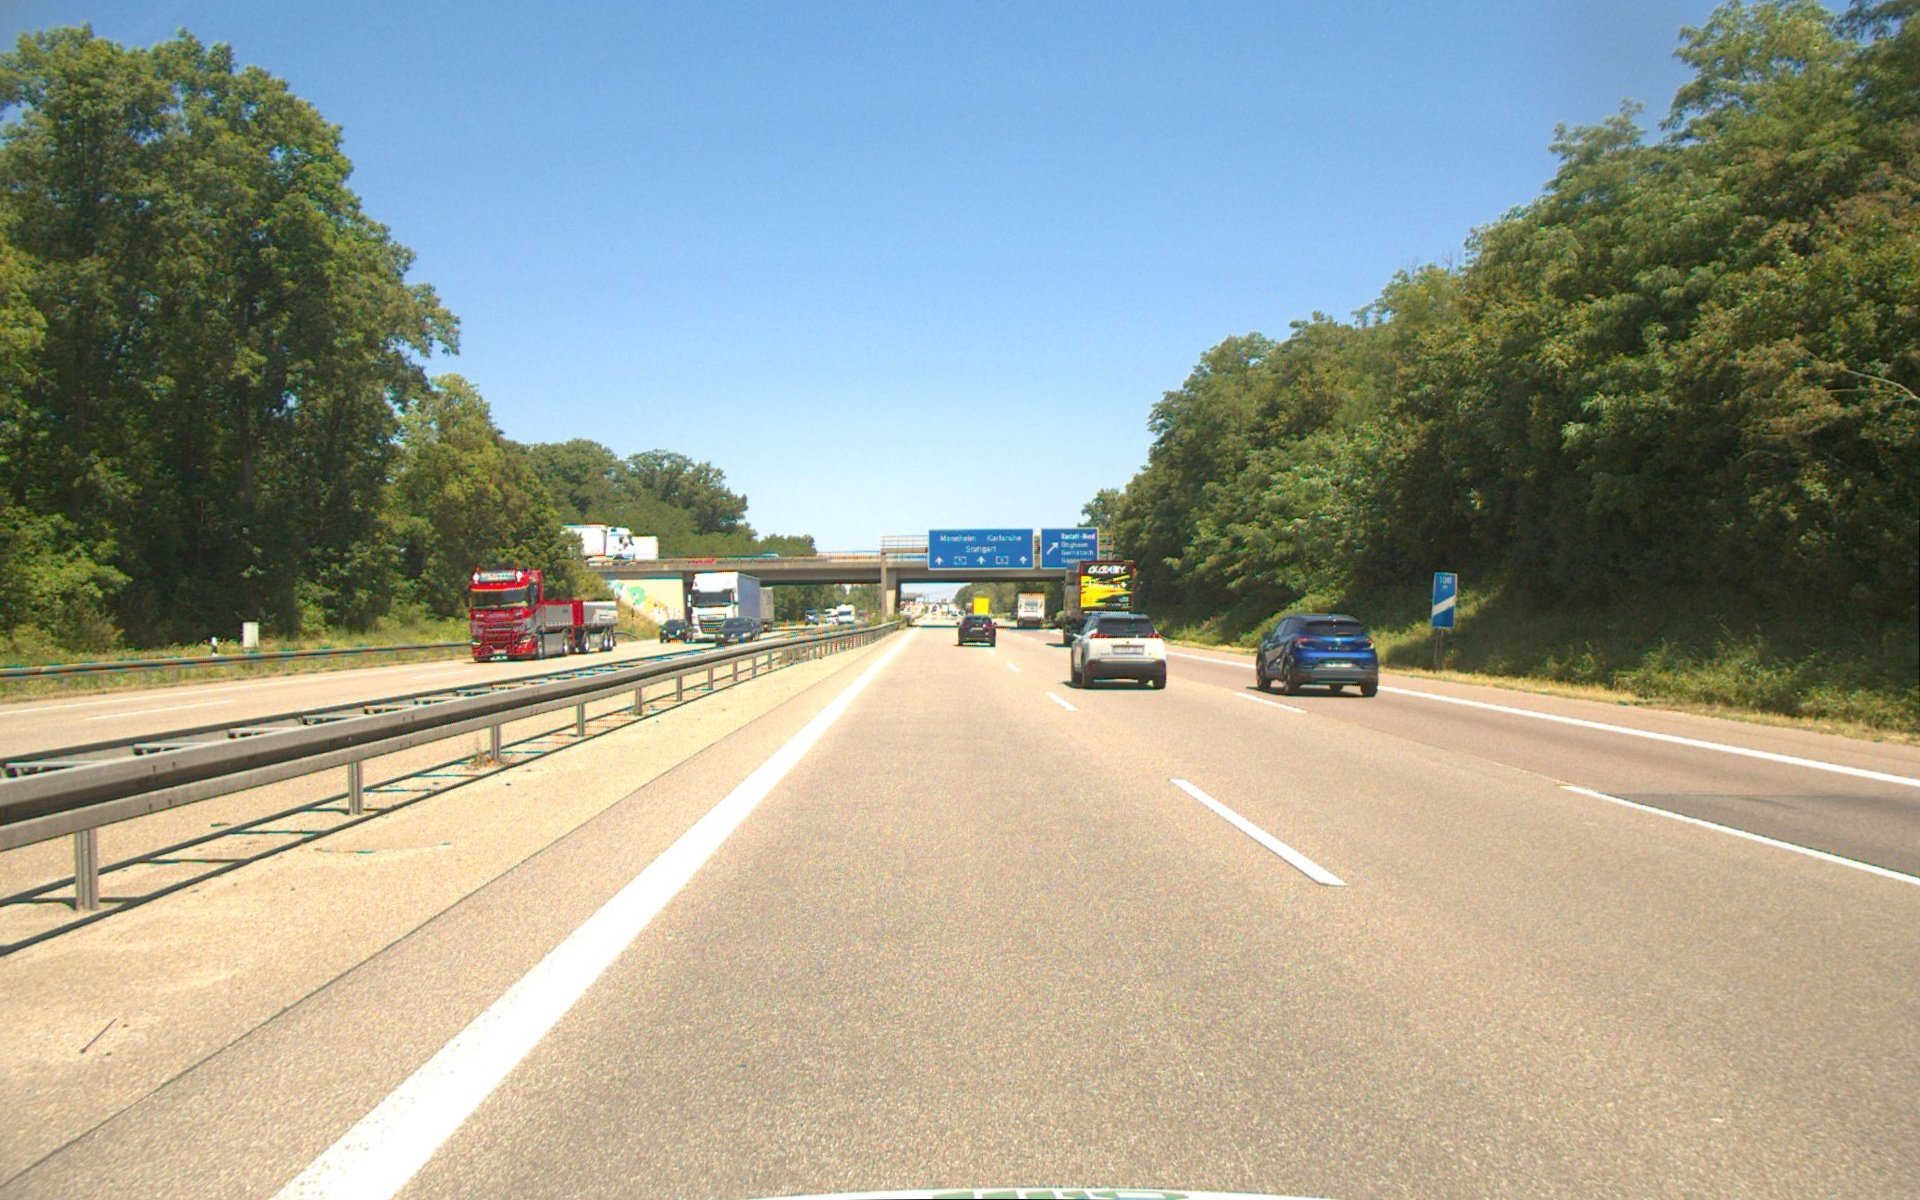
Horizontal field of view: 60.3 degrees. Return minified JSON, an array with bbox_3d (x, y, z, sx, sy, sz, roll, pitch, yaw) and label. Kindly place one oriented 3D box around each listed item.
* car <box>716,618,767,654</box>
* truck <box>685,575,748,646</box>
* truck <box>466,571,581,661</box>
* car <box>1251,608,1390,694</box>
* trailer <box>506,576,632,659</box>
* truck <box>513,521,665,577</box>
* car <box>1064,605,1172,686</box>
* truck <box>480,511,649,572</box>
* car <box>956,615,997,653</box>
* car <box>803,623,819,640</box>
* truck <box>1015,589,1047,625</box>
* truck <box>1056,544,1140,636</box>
[{"bbox_3d":[-10.085,1.642,76.533,1.770,1.619,4.668,1,-1,-1],"label":"car"},{"bbox_3d":[-14.605,0.642,99.591,2.926,4.089,6.040,1,-1,-1],"label":"truck"},{"bbox_3d":[-17.696,0.660,67.602,2.693,3.453,7.660,1,-1,-1],"label":"truck"},{"bbox_3d":[7.168,0.989,33.293,1.832,1.583,4.200,1,-1,-1],"label":"car"},{"bbox_3d":[-17.764,0.813,76.279,2.723,3.453,13.287,1,-1,-1],"label":"trailer"},{"bbox_3d":[-40.960,-5.627,183.224,16.153,5.663,3.169,1,-1,-8],"label":"truck"},{"bbox_3d":[3.353,0.954,35.961,1.790,1.636,4.807,0,-1,-1],"label":"car"},{"bbox_3d":[-39.707,-5.822,166.597,16.143,5.663,3.171,1,-1,-6],"label":"truck"},{"bbox_3d":[0.753,1.568,77.078,1.790,1.736,3.999,1,-1,-1],"label":"car"},{"bbox_3d":[-22.640,4.785,250.856,2.047,2.441,5.731,1,-1,-2],"label":"car"},{"bbox_3d":[7.103,0.727,164.740,2.965,3.378,10.774,1,-1,3],"label":"truck"},{"bbox_3d":[6.642,-0.377,81.161,2.914,4.107,10.978,2,-1,-1],"label":"truck"}]
